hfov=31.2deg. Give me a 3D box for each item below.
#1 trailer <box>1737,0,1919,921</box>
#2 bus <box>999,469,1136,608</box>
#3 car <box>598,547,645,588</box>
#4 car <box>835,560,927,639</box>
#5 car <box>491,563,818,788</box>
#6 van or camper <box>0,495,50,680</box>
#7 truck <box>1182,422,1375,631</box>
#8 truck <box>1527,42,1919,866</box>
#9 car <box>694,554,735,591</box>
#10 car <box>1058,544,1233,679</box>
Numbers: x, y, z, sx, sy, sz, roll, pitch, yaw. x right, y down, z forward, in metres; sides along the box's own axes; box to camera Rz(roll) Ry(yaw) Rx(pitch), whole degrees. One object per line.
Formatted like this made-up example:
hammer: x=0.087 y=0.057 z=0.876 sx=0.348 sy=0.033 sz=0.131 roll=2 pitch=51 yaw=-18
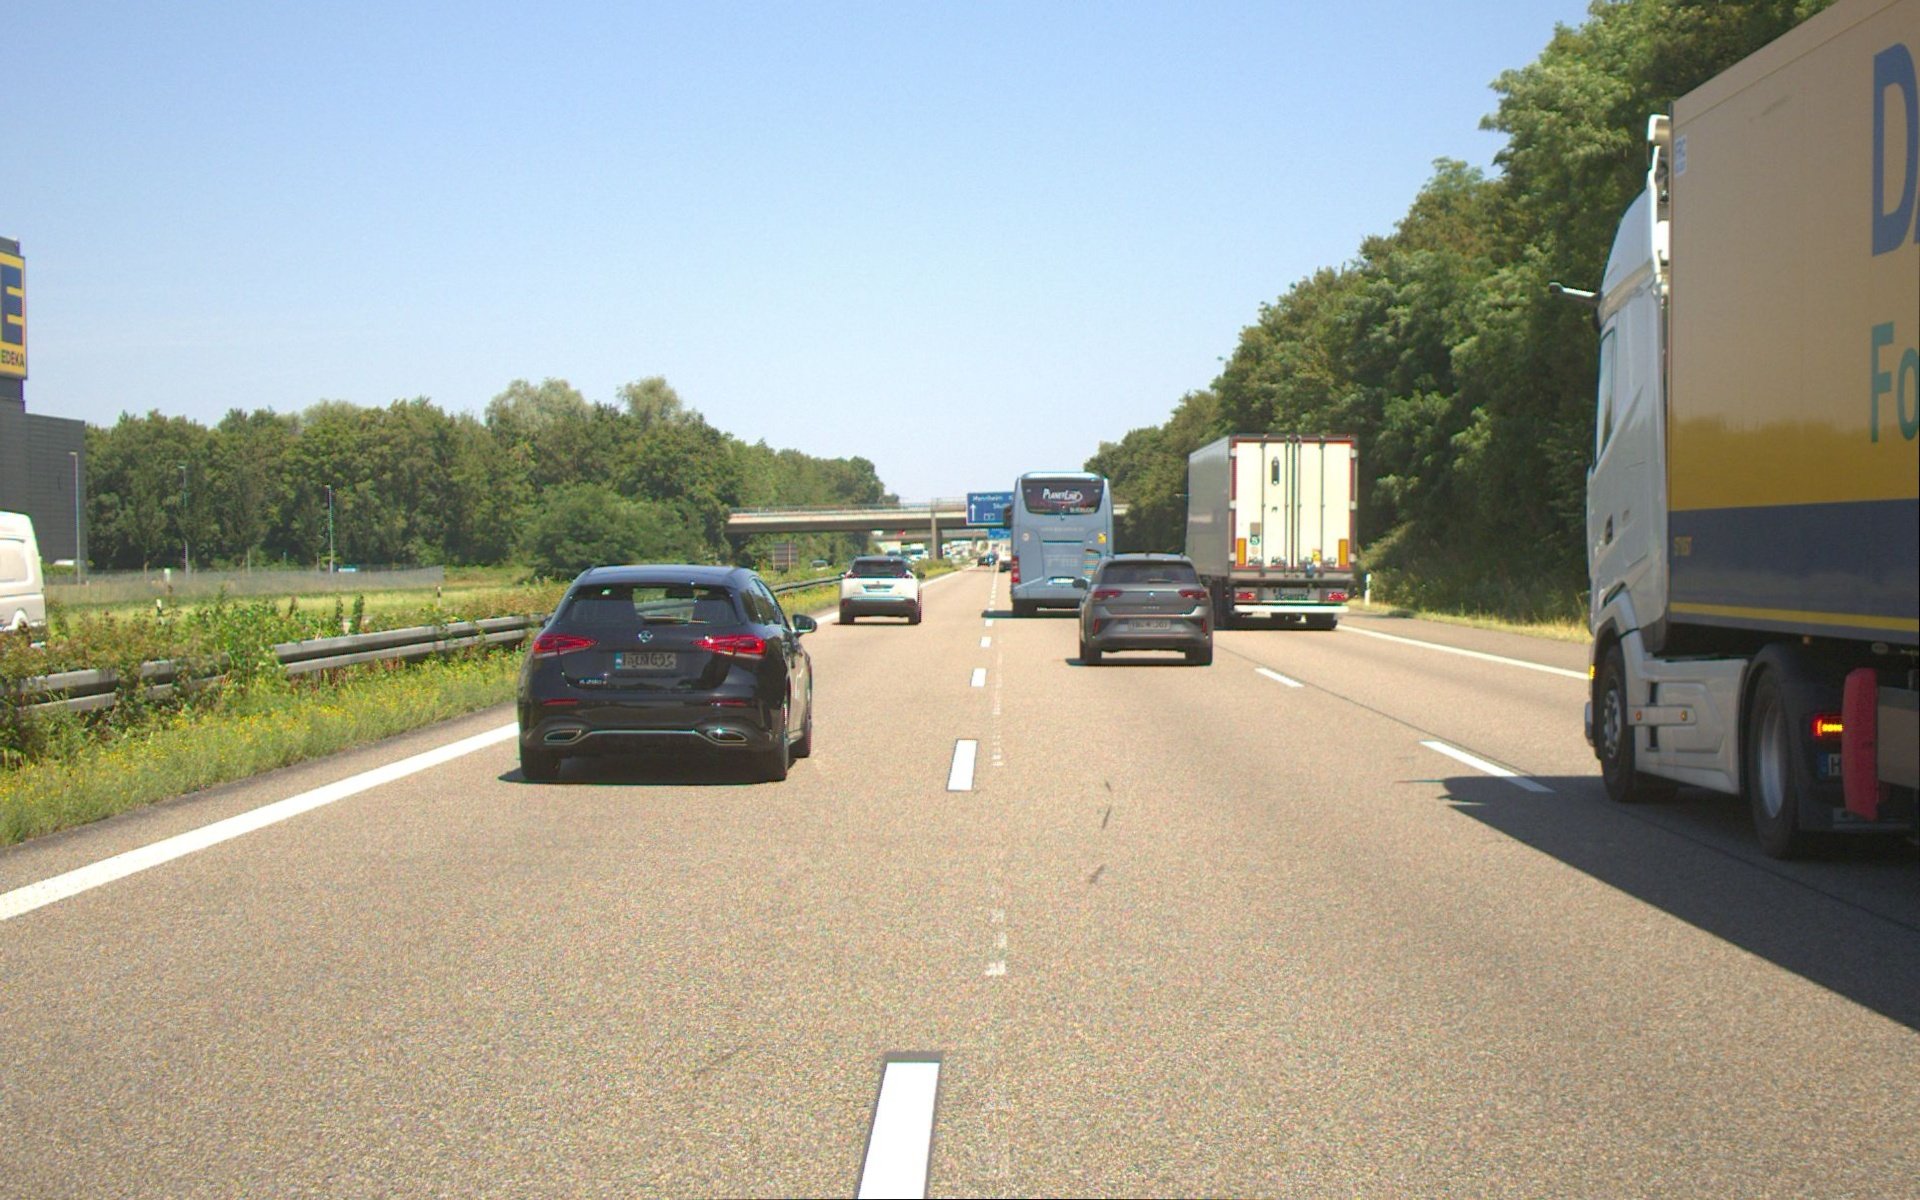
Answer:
trailer: x=5.244 y=-0.644 z=11.231 sx=2.834 sy=3.940 sz=11.684 roll=0 pitch=1 yaw=0
bus: x=2.672 y=-1.547 z=87.891 sx=3.062 sy=3.315 sz=8.274 roll=-1 pitch=1 yaw=-1
car: x=-17.016 y=-1.629 z=172.999 sx=1.993 sy=2.007 sz=4.000 roll=-1 pitch=1 yaw=-1
car: x=-1.752 y=-0.043 z=77.335 sx=1.993 sy=1.722 sz=4.131 roll=0 pitch=1 yaw=0
car: x=-2.036 y=0.460 z=23.969 sx=1.792 sy=1.407 sz=4.052 roll=0 pitch=1 yaw=2
van or camper: x=-15.393 y=-0.155 z=50.569 sx=2.056 sy=2.770 sz=6.965 roll=-1 pitch=1 yaw=1
truck: x=6.716 y=-1.542 z=73.898 sx=3.423 sy=4.112 sz=9.564 roll=-1 pitch=1 yaw=2
truck: x=5.260 y=-0.763 z=20.015 sx=2.813 sy=3.993 sz=6.645 roll=0 pitch=1 yaw=0
car: x=-13.734 y=-1.571 z=192.744 sx=1.993 sy=2.007 sz=4.000 roll=-1 pitch=1 yaw=-1
car: x=2.581 y=0.120 z=49.043 sx=2.216 sy=1.784 sz=5.393 roll=-1 pitch=1 yaw=0
